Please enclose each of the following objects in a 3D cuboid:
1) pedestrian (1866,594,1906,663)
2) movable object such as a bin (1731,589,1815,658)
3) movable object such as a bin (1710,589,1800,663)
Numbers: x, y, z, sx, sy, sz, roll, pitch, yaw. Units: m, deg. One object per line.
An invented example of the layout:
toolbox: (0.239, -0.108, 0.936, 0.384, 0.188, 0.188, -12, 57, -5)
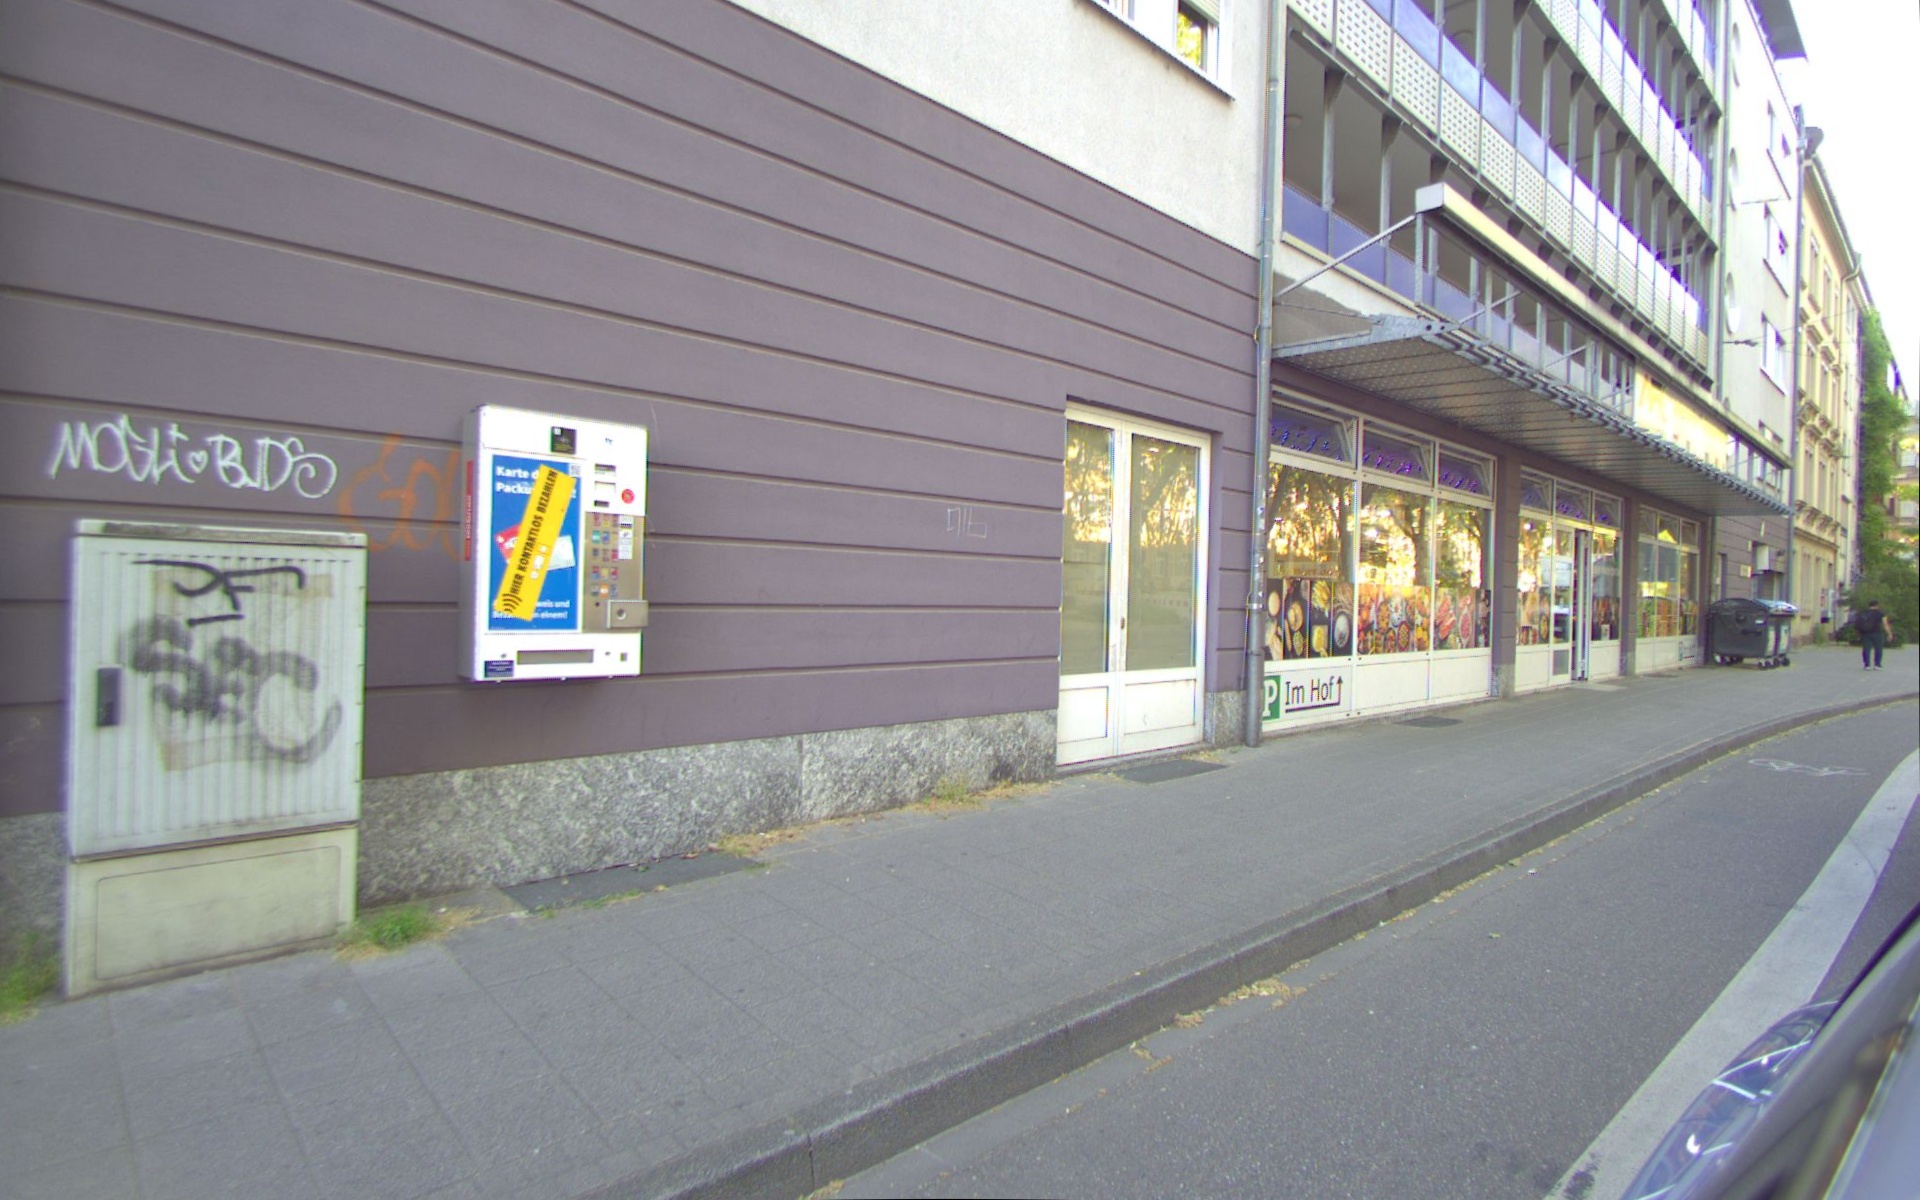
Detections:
pedestrian: (20.261, 0.611, 22.140, 0.619, 1.463, 0.540, 1, 1, -41)
movable object such as a bin: (17.841, 0.489, 22.214, 1.348, 1.427, 1.203, 1, 1, -41)
movable object such as a bin: (16.430, 0.510, 20.918, 1.348, 1.427, 1.203, 1, 1, -41)
